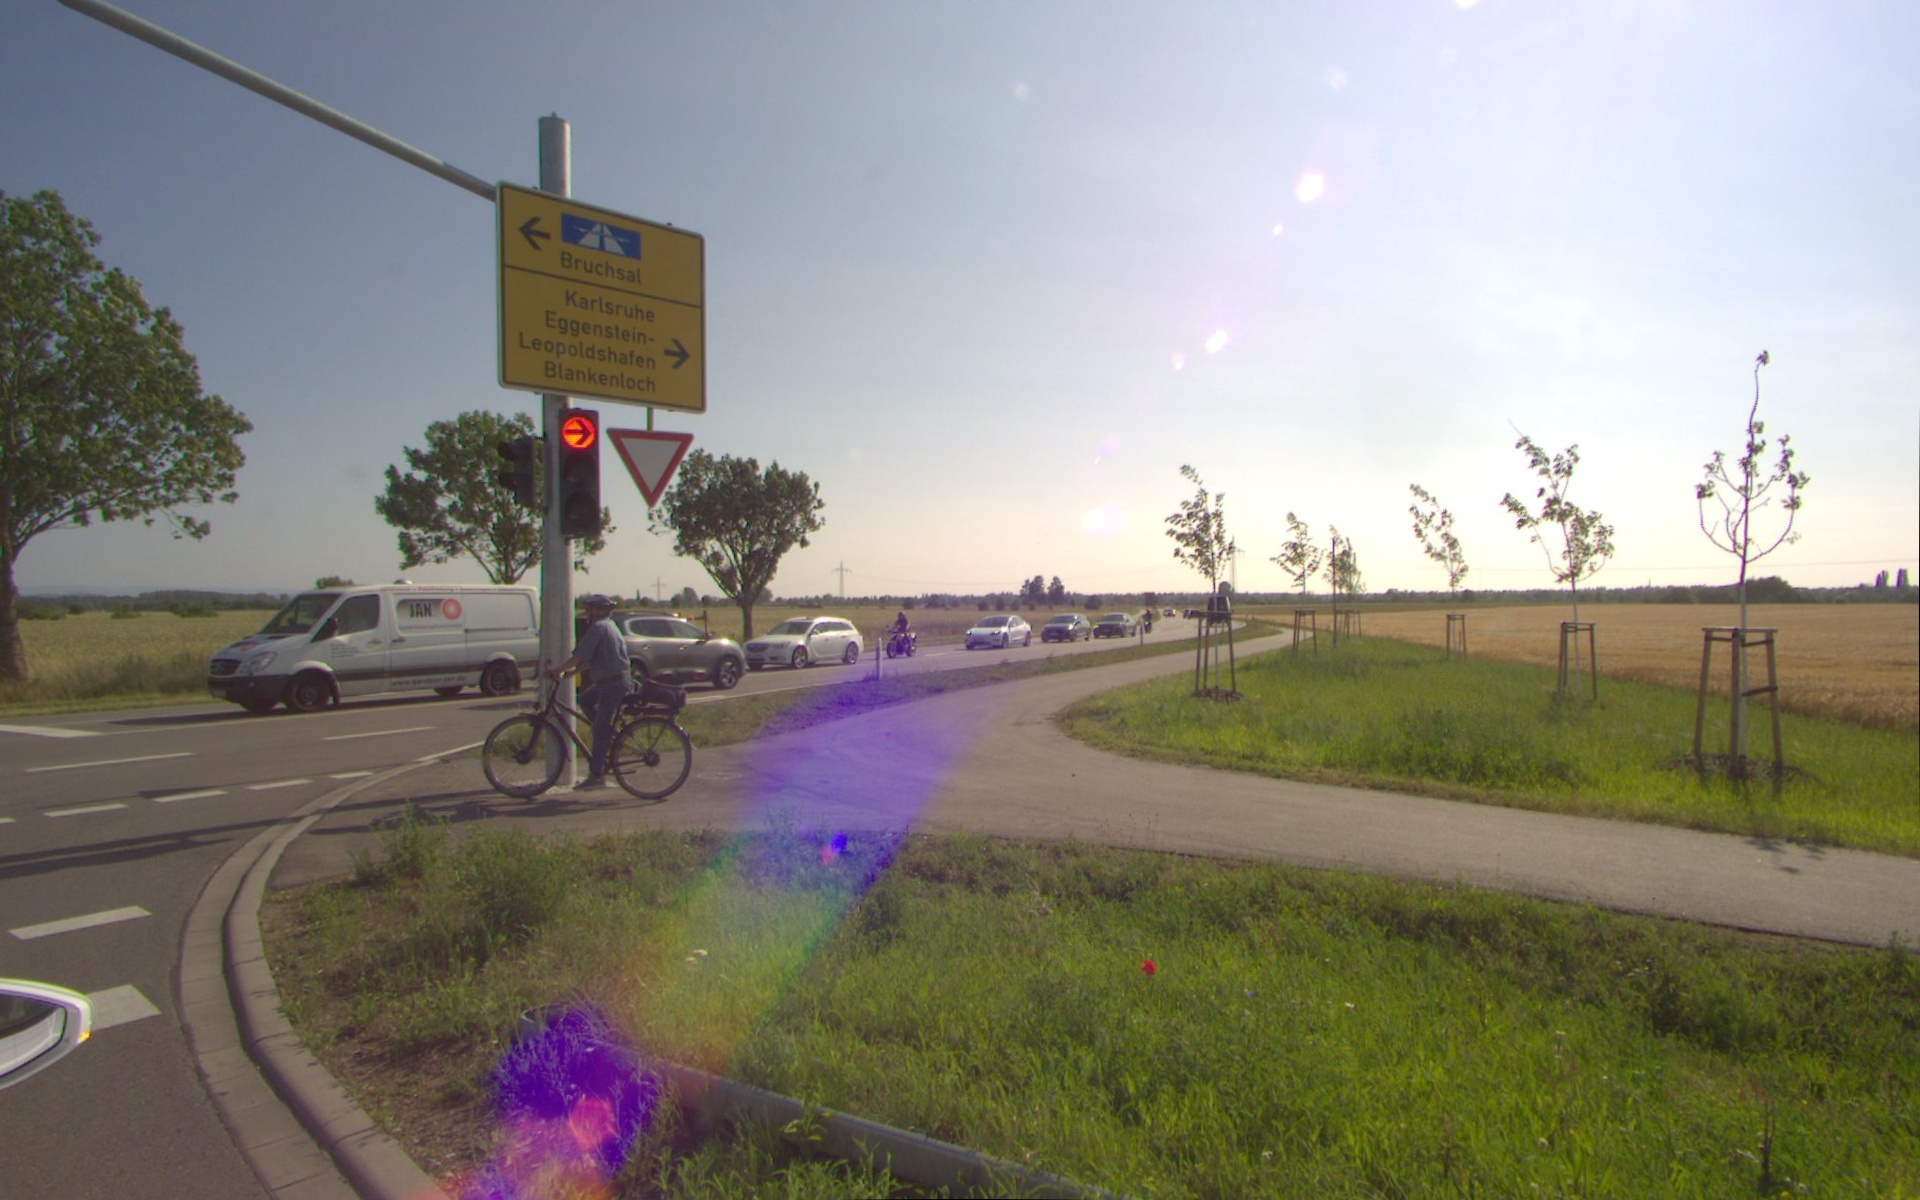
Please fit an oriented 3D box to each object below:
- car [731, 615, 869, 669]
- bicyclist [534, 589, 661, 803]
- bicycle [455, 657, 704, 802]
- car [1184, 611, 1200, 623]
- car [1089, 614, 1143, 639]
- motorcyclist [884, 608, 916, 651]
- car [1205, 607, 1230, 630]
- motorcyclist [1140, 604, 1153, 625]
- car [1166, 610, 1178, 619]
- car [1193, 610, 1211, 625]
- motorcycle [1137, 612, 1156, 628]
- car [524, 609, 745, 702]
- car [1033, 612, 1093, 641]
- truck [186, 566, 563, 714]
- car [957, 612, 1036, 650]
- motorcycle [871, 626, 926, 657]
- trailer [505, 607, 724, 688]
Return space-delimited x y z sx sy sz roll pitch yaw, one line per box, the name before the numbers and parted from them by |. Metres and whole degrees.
car | -4.835 1.248 30.944 1.738 1.511 4.689 -1 -1 28
bicyclist | -3.156 0.831 8.798 0.901 1.787 0.619 3 -2 -13
bicycle | -3.259 1.128 8.769 1.910 1.165 0.681 3 -2 -13
car | 34.517 2.577 149.019 1.899 1.715 3.886 0 -2 8
car | 9.620 1.625 61.366 1.866 1.455 4.779 -1 -1 27
motorcyclist | -2.193 1.068 36.687 0.670 1.535 1.176 -1 0 27
car | 22.959 1.670 89.113 2.024 2.039 3.996 -1 -2 16
motorcyclist | 13.330 1.032 71.621 0.669 1.515 0.844 -1 0 25
car | 38.547 2.654 182.061 1.855 1.646 3.999 -3 -2 11
car | 31.118 2.252 128.812 1.899 1.822 3.886 0 -2 8
motorcycle | 13.341 1.432 71.630 0.859 1.087 1.962 -1 0 25
car | -6.516 1.047 20.490 1.949 1.703 4.089 -1 -1 29
car | 5.532 1.369 53.451 1.866 1.480 4.292 -1 -1 25
truck | -11.108 0.709 19.667 2.041 2.436 6.168 -1 -1 31
car | 1.693 1.353 44.841 1.867 1.485 4.258 -3 0 28
motorcycle | -2.225 1.508 36.661 0.885 1.057 2.419 -1 0 26
trailer | -8.266 1.082 24.480 1.952 1.760 4.987 -2 -1 31
